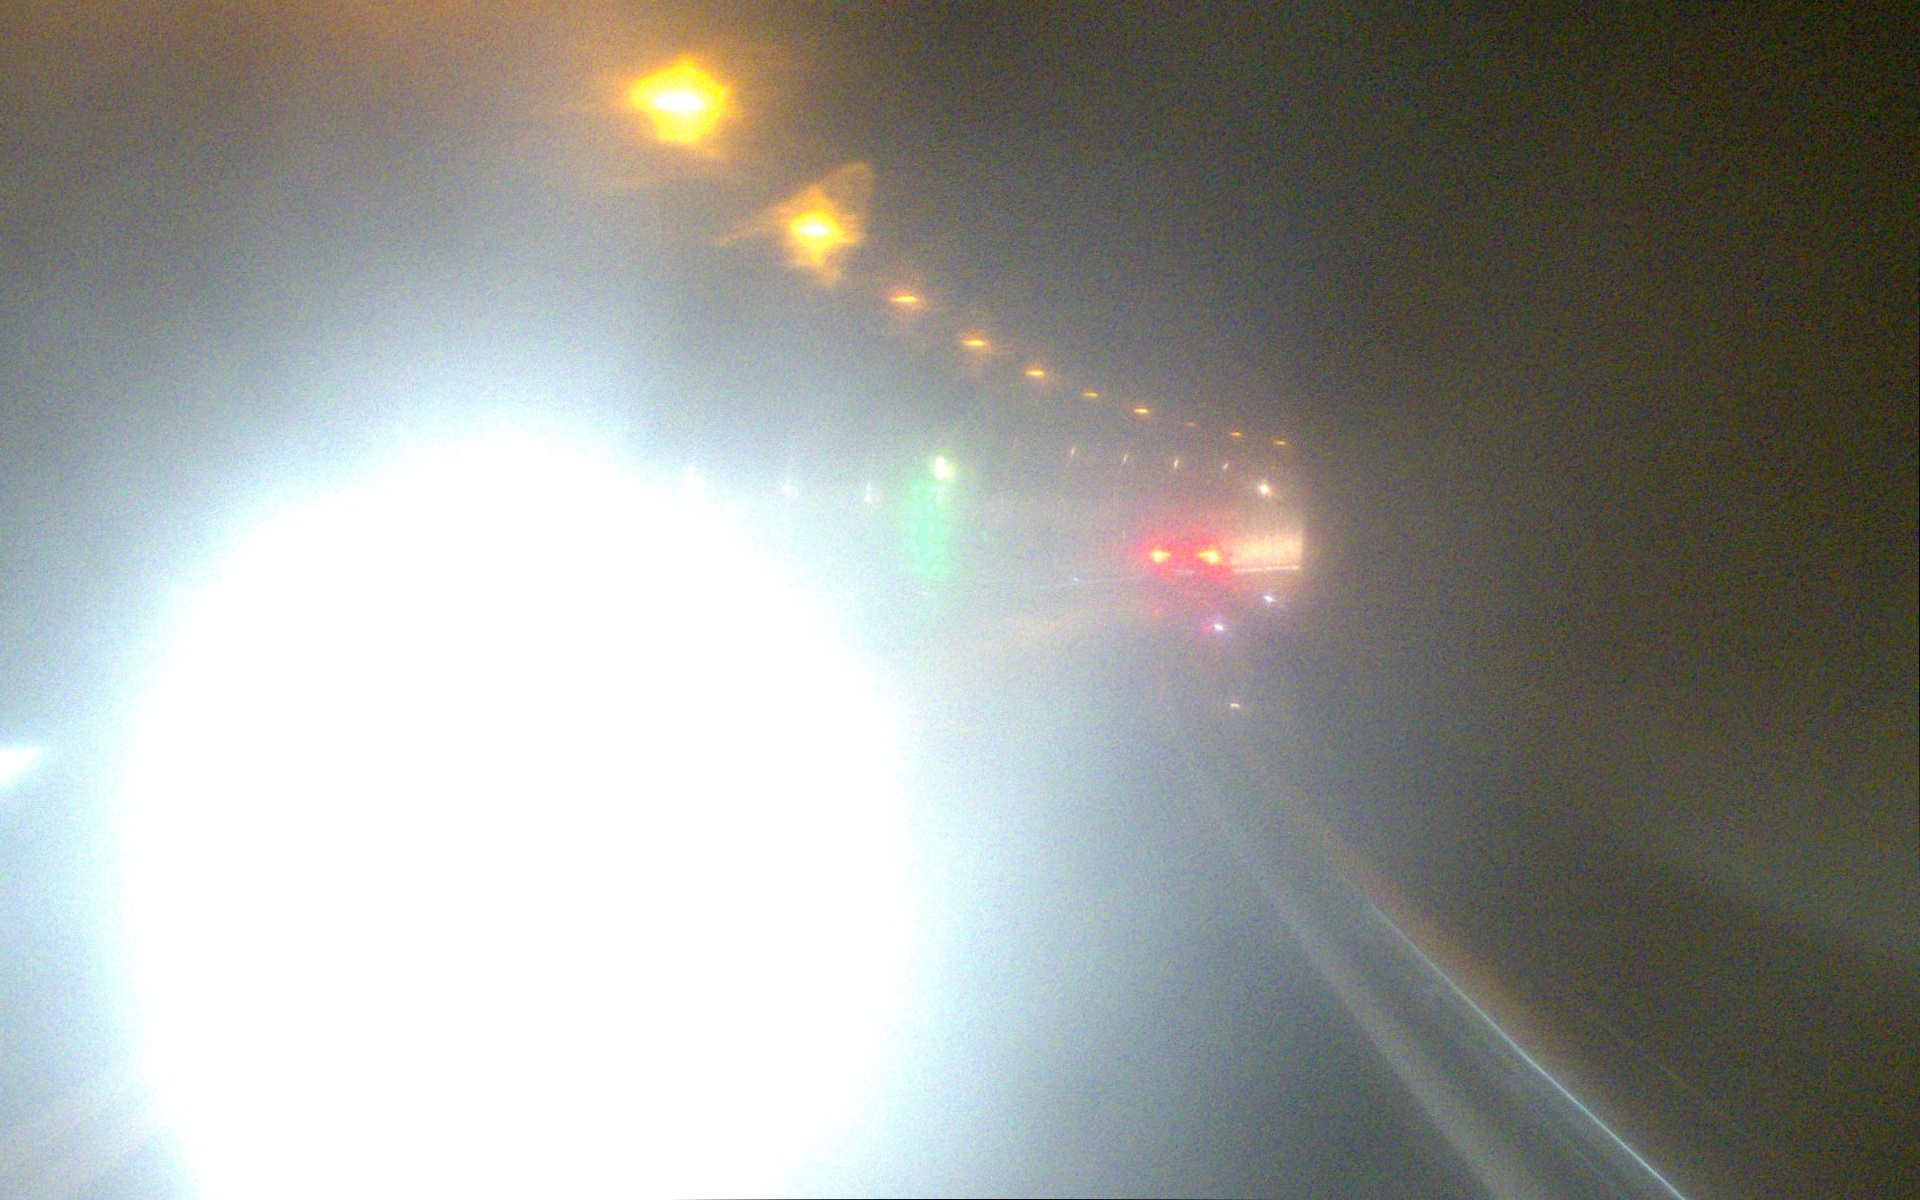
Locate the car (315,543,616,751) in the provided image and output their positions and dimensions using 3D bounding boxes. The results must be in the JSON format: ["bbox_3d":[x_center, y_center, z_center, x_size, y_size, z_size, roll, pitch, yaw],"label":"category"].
[{"bbox_3d":[-3.606,0.290,25.671,1.629,1.392,4.000,1,1,0],"label":"car"}]

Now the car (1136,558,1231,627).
[{"bbox_3d":[5.652,-0.205,86.564,1.994,1.645,3.999,1,1,9],"label":"car"}]
